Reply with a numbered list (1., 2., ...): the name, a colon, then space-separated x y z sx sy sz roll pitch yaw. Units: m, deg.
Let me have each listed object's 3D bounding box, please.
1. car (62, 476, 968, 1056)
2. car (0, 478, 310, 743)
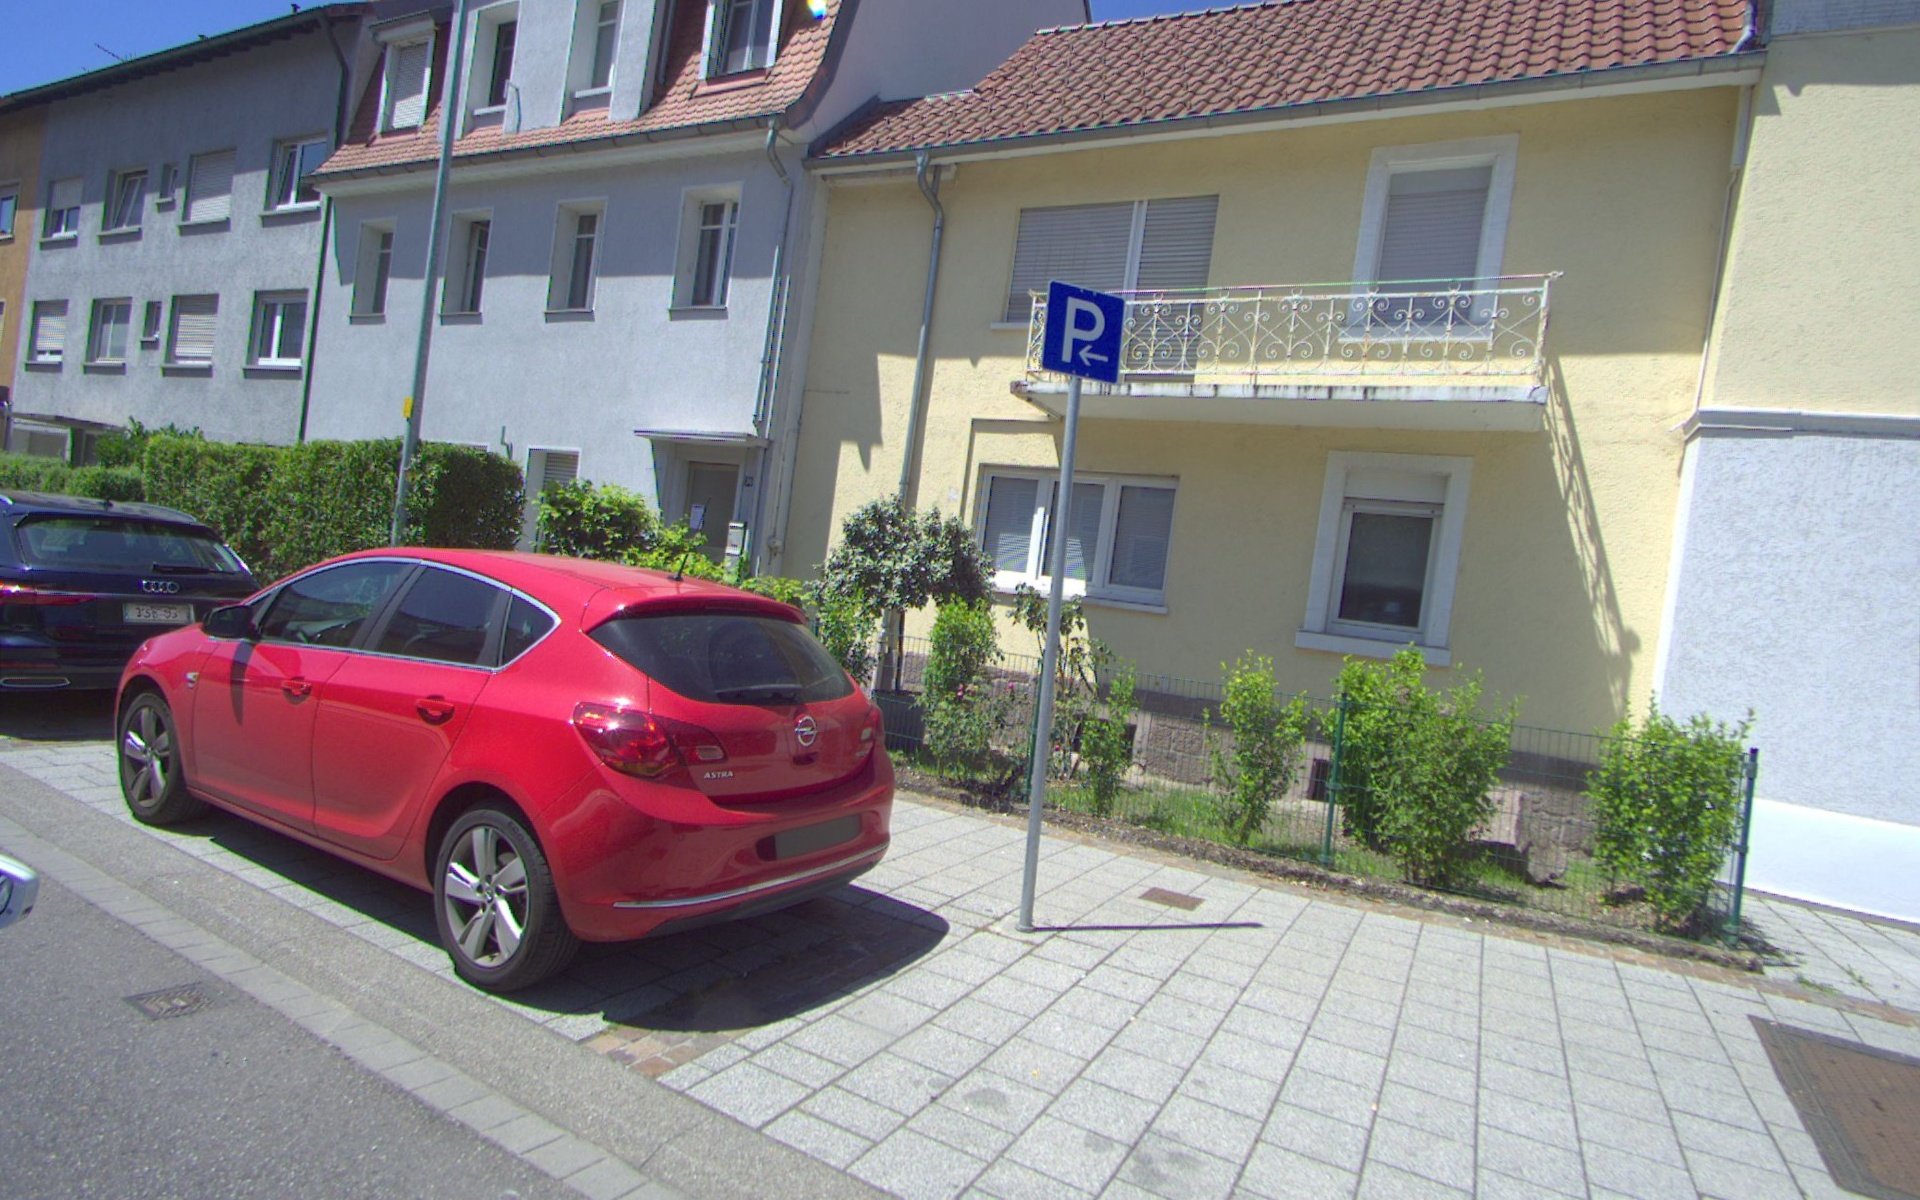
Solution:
1. car: -2.248 0.438 4.818 4.080 1.549 1.806 7 0 30
2. car: -7.219 -0.136 7.724 4.640 1.495 1.804 7 3 30
